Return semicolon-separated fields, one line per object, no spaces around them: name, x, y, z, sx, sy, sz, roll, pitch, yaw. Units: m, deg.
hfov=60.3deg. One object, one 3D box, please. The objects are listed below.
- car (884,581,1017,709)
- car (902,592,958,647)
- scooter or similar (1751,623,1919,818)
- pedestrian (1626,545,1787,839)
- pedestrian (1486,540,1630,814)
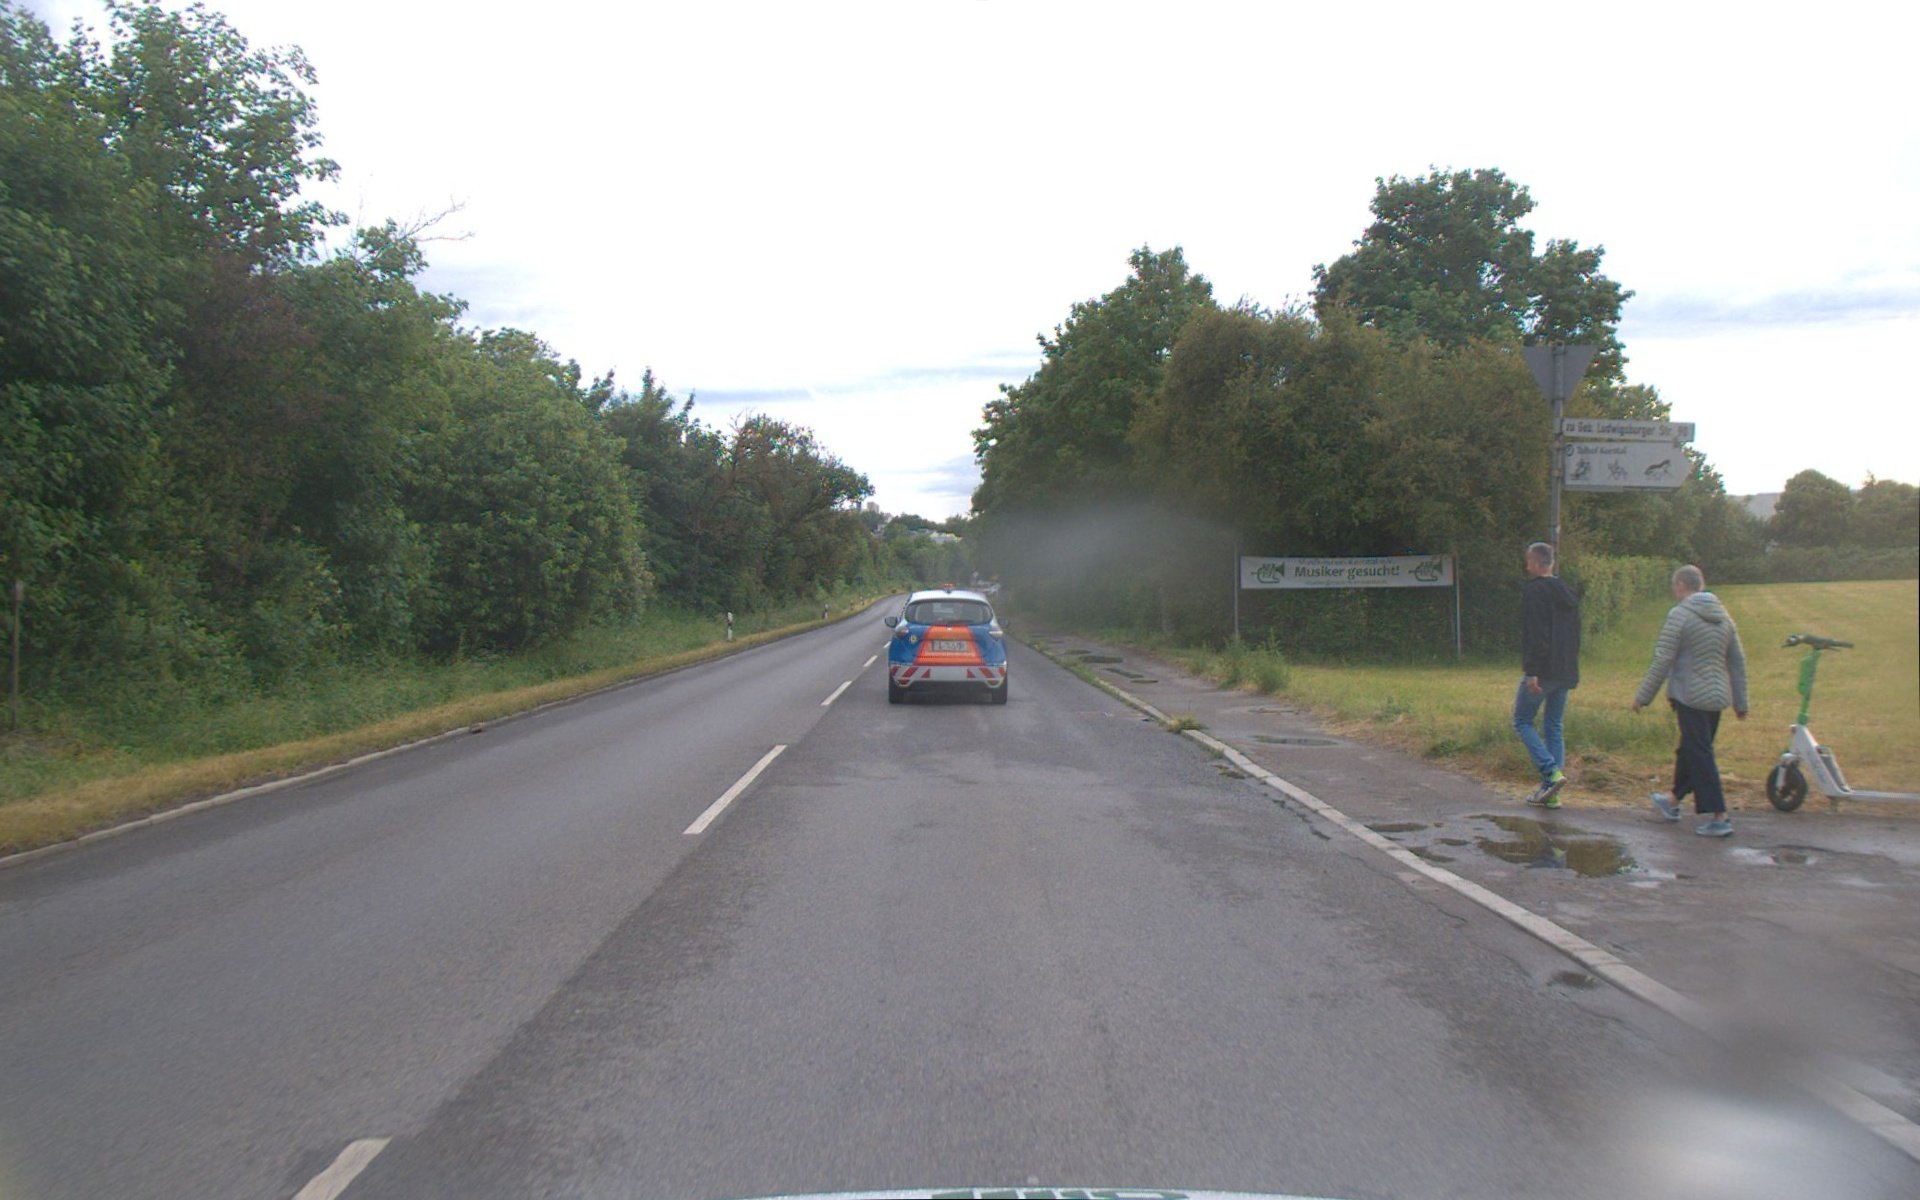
car;-0.155;0.608;24.390;1.769;1.697;3.855;1;0;-1
car;-0.924;0.597;51.924;1.659;1.623;3.855;1;0;-1
scooter or similar;5.936;0.768;10.819;1.303;1.227;0.372;-1;0;40
pedestrian;4.791;0.568;10.650;0.647;1.809;0.760;-1;0;-1
pedestrian;4.229;0.530;11.742;0.679;1.859;0.801;-1;0;-1
